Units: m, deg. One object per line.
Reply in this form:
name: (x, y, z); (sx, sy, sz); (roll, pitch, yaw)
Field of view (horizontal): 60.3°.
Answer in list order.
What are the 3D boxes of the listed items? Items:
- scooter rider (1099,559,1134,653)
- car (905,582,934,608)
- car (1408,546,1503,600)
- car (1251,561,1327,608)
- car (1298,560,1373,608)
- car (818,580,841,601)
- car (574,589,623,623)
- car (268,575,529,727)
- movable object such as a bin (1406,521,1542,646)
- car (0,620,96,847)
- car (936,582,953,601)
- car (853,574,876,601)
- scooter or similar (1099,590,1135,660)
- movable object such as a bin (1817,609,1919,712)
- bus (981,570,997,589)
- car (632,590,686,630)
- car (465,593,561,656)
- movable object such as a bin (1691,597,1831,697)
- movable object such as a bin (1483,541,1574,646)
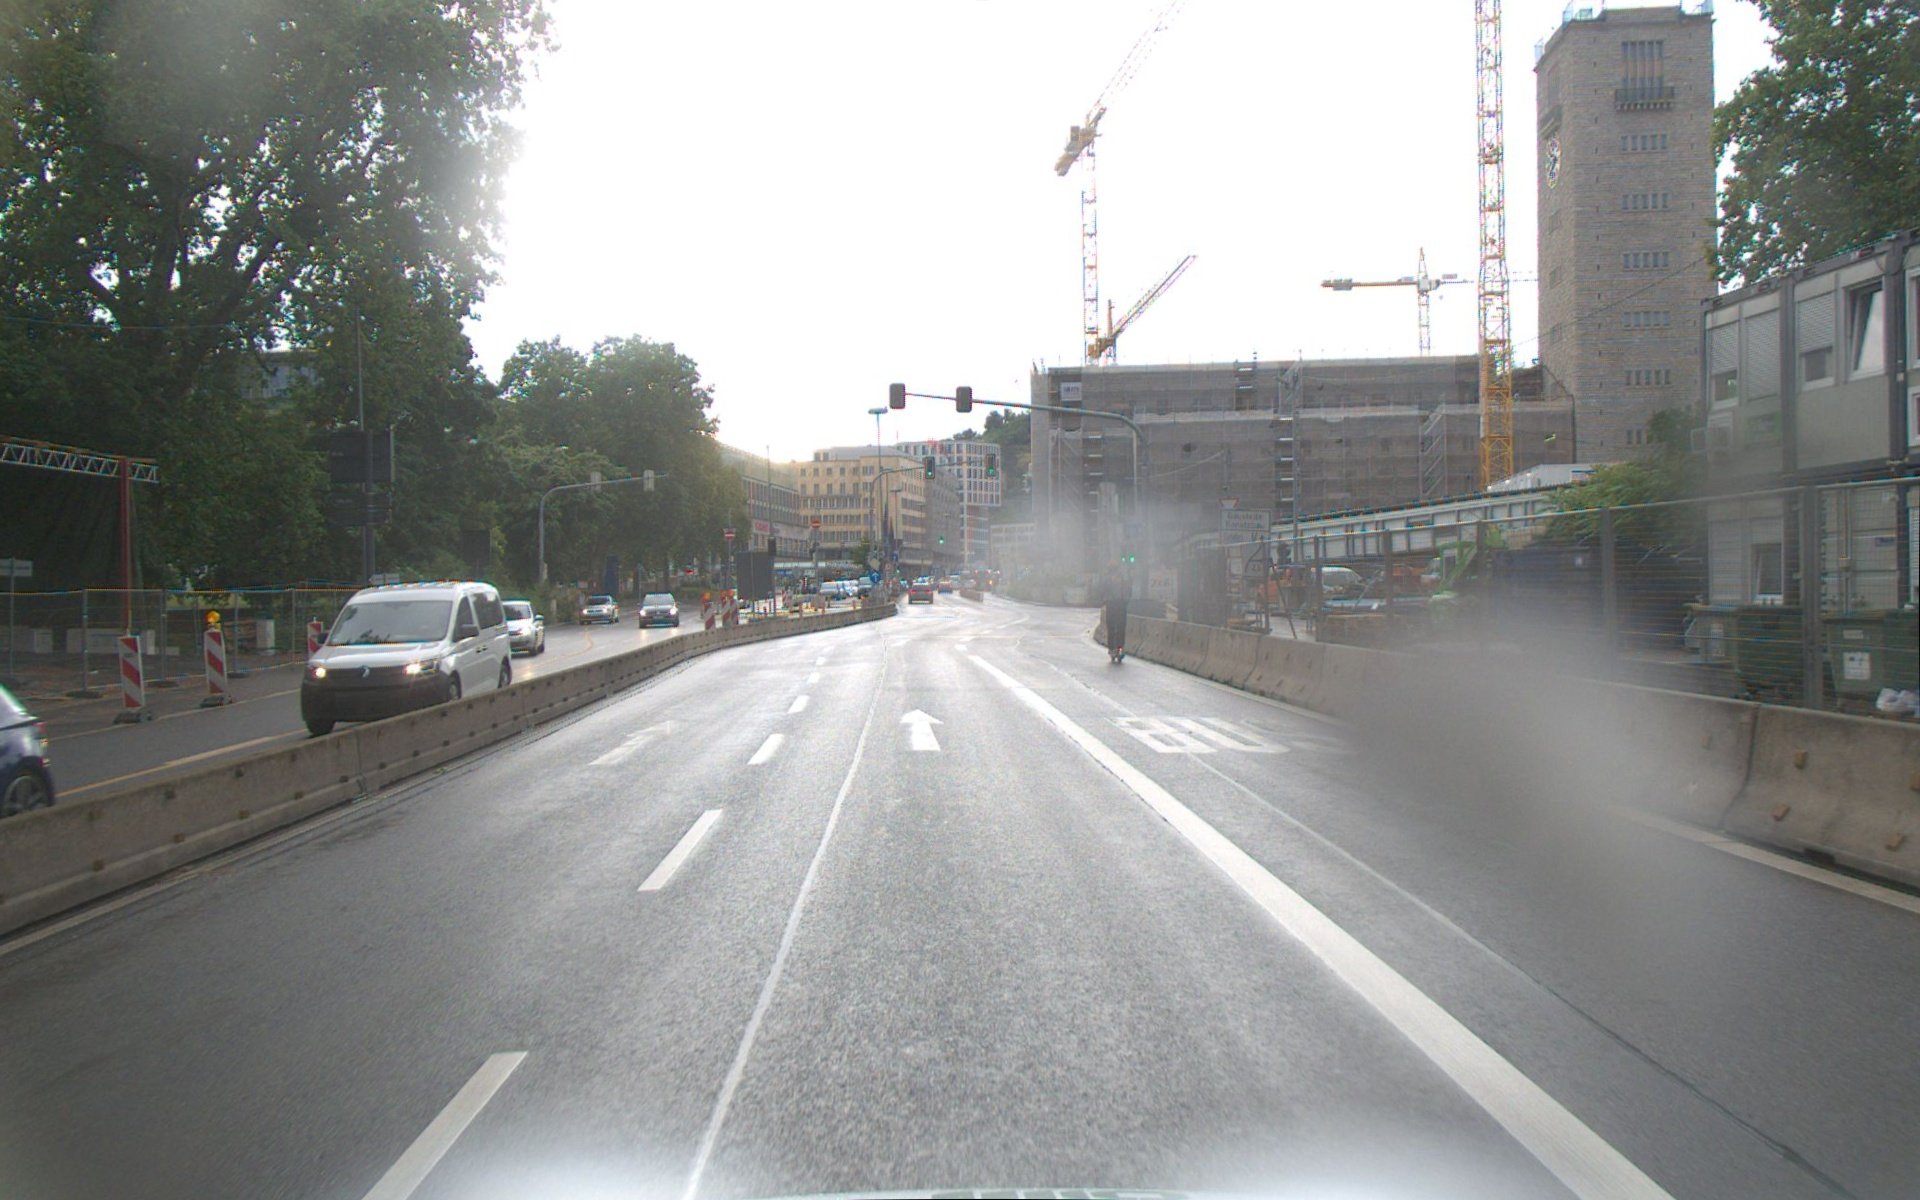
scooter rider: (3.079, 0.107, 32.649); (0.585, 1.817, 0.997); (-1, 0, 1)
car: (-2.939, -0.341, 118.624); (1.864, 1.554, 4.173); (-3, -2, -4)
car: (22.954, -1.207, 76.886); (2.006, 2.353, 5.595); (-3, 0, -8)
car: (14.634, -0.672, 73.848); (1.875, 2.009, 5.156); (-1, 0, -6)
car: (15.360, -0.692, 67.912); (1.809, 1.838, 5.085); (-1, 2, -2)
car: (-11.533, -0.811, 146.260); (1.864, 1.554, 4.173); (-3, -2, -4)
car: (-19.156, 0.343, 87.798); (1.955, 1.568, 4.439); (-3, -2, -6)
car: (-7.305, 0.622, 22.084); (1.991, 1.682, 4.907); (-3, 0, -4)
movable object such as a bin: (12.458, -0.444, 40.296); (1.772, 2.858, 3.861); (-1, 2, -6)
car: (-6.633, 0.856, 9.084); (1.678, 1.362, 4.060); (-3, 0, -2)
car: (-1.935, -1.037, 202.882); (1.953, 2.049, 3.999); (-3, -2, 0)
car: (-8.470, -1.094, 146.939); (1.864, 2.119, 4.173); (-3, -2, -4)
scooter or similar: (3.089, 0.472, 32.668); (0.585, 1.342, 1.667); (-1, 0, 1)
movable object such as a bin: (11.087, 0.696, 19.521); (1.222, 1.142, 1.238); (-3, -2, -2)
bus: (4.260, -2.918, 240.124); (1.952, 2.474, 4.002); (-3, -2, 4)
car: (-13.562, 0.483, 74.768); (1.955, 1.568, 4.574); (-3, -2, -6)
car: (-12.348, 0.728, 45.917); (1.833, 1.568, 4.085); (-3, -2, -6)
movable object such as a bin: (10.915, 0.638, 22.597); (1.222, 1.258, 1.238); (-3, -2, -2)
movable object such as a bin: (12.508, -0.161, 36.402); (1.438, 2.241, 1.255); (-1, 2, -25)
